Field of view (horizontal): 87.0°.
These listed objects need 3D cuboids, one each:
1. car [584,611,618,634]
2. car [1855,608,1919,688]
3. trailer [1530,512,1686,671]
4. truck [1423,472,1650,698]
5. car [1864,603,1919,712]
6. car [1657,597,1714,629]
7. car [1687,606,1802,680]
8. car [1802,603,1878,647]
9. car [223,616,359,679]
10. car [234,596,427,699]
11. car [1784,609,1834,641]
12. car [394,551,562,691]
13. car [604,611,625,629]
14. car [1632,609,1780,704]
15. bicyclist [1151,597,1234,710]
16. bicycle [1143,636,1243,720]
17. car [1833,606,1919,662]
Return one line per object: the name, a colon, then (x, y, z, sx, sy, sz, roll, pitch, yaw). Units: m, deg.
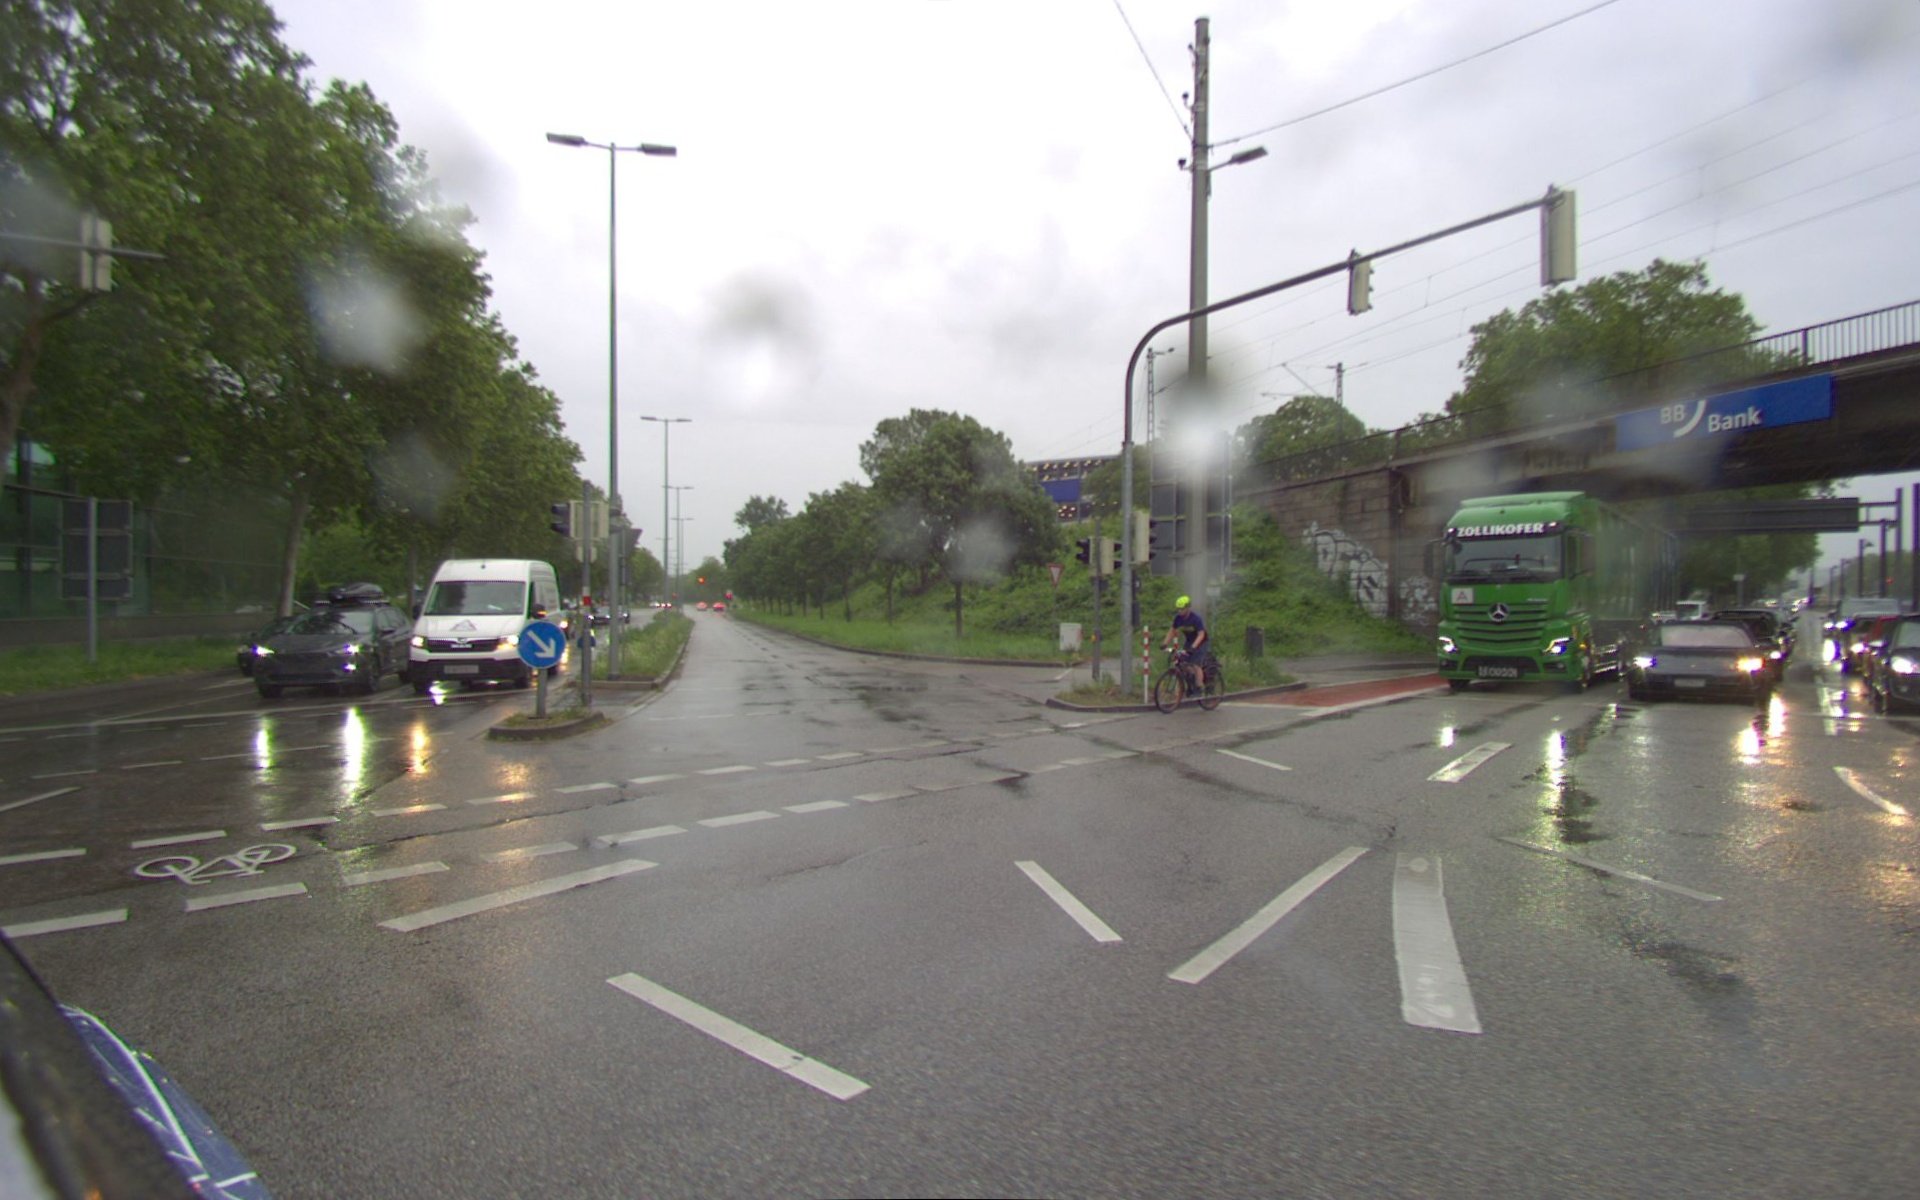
car: (-26.350, 1.623, 74.400, 1.878, 1.597, 3.935, 0, 0, -12)
car: (19.050, 0.904, 19.970, 1.818, 1.463, 3.949, 0, -1, 38)
trailer: (19.141, -0.205, 29.618, 2.688, 4.017, 8.404, 0, 0, 41)
truck: (13.190, -0.228, 22.557, 2.686, 3.979, 10.058, 0, -1, 40)
car: (15.337, 0.837, 15.628, 1.657, 1.558, 3.951, 0, -1, 36)
car: (34.269, 0.616, 47.782, 1.827, 1.481, 3.945, 0, -1, 41)
car: (18.512, 0.946, 23.908, 1.998, 1.586, 3.948, 0, -1, 39)
car: (31.459, 0.854, 36.276, 1.825, 1.481, 3.949, 0, -1, 38)
car: (-16.853, 1.138, 25.716, 1.773, 1.447, 4.012, 0, -1, -16)
car: (-11.984, 0.850, 19.627, 1.966, 1.761, 4.339, 0, -1, -15)
car: (44.425, 1.279, 53.015, 1.862, 1.586, 3.638, 0, -1, 38)
car: (-9.669, 0.399, 20.856, 1.937, 2.452, 5.977, 0, -1, -14)
car: (-31.481, 1.822, 92.320, 1.555, 1.534, 3.936, 0, 0, -15)
car: (13.526, 0.922, 18.238, 1.745, 1.496, 4.620, 0, -1, 42)
bicyclist: (3.506, 0.769, 15.231, 0.804, 1.605, 1.033, -1, 1, 41)
bicycle: (3.548, 1.139, 15.293, 0.694, 1.103, 1.888, -1, 0, 39)
car: (28.027, 0.992, 30.802, 1.997, 1.586, 3.949, 0, -1, 38)
